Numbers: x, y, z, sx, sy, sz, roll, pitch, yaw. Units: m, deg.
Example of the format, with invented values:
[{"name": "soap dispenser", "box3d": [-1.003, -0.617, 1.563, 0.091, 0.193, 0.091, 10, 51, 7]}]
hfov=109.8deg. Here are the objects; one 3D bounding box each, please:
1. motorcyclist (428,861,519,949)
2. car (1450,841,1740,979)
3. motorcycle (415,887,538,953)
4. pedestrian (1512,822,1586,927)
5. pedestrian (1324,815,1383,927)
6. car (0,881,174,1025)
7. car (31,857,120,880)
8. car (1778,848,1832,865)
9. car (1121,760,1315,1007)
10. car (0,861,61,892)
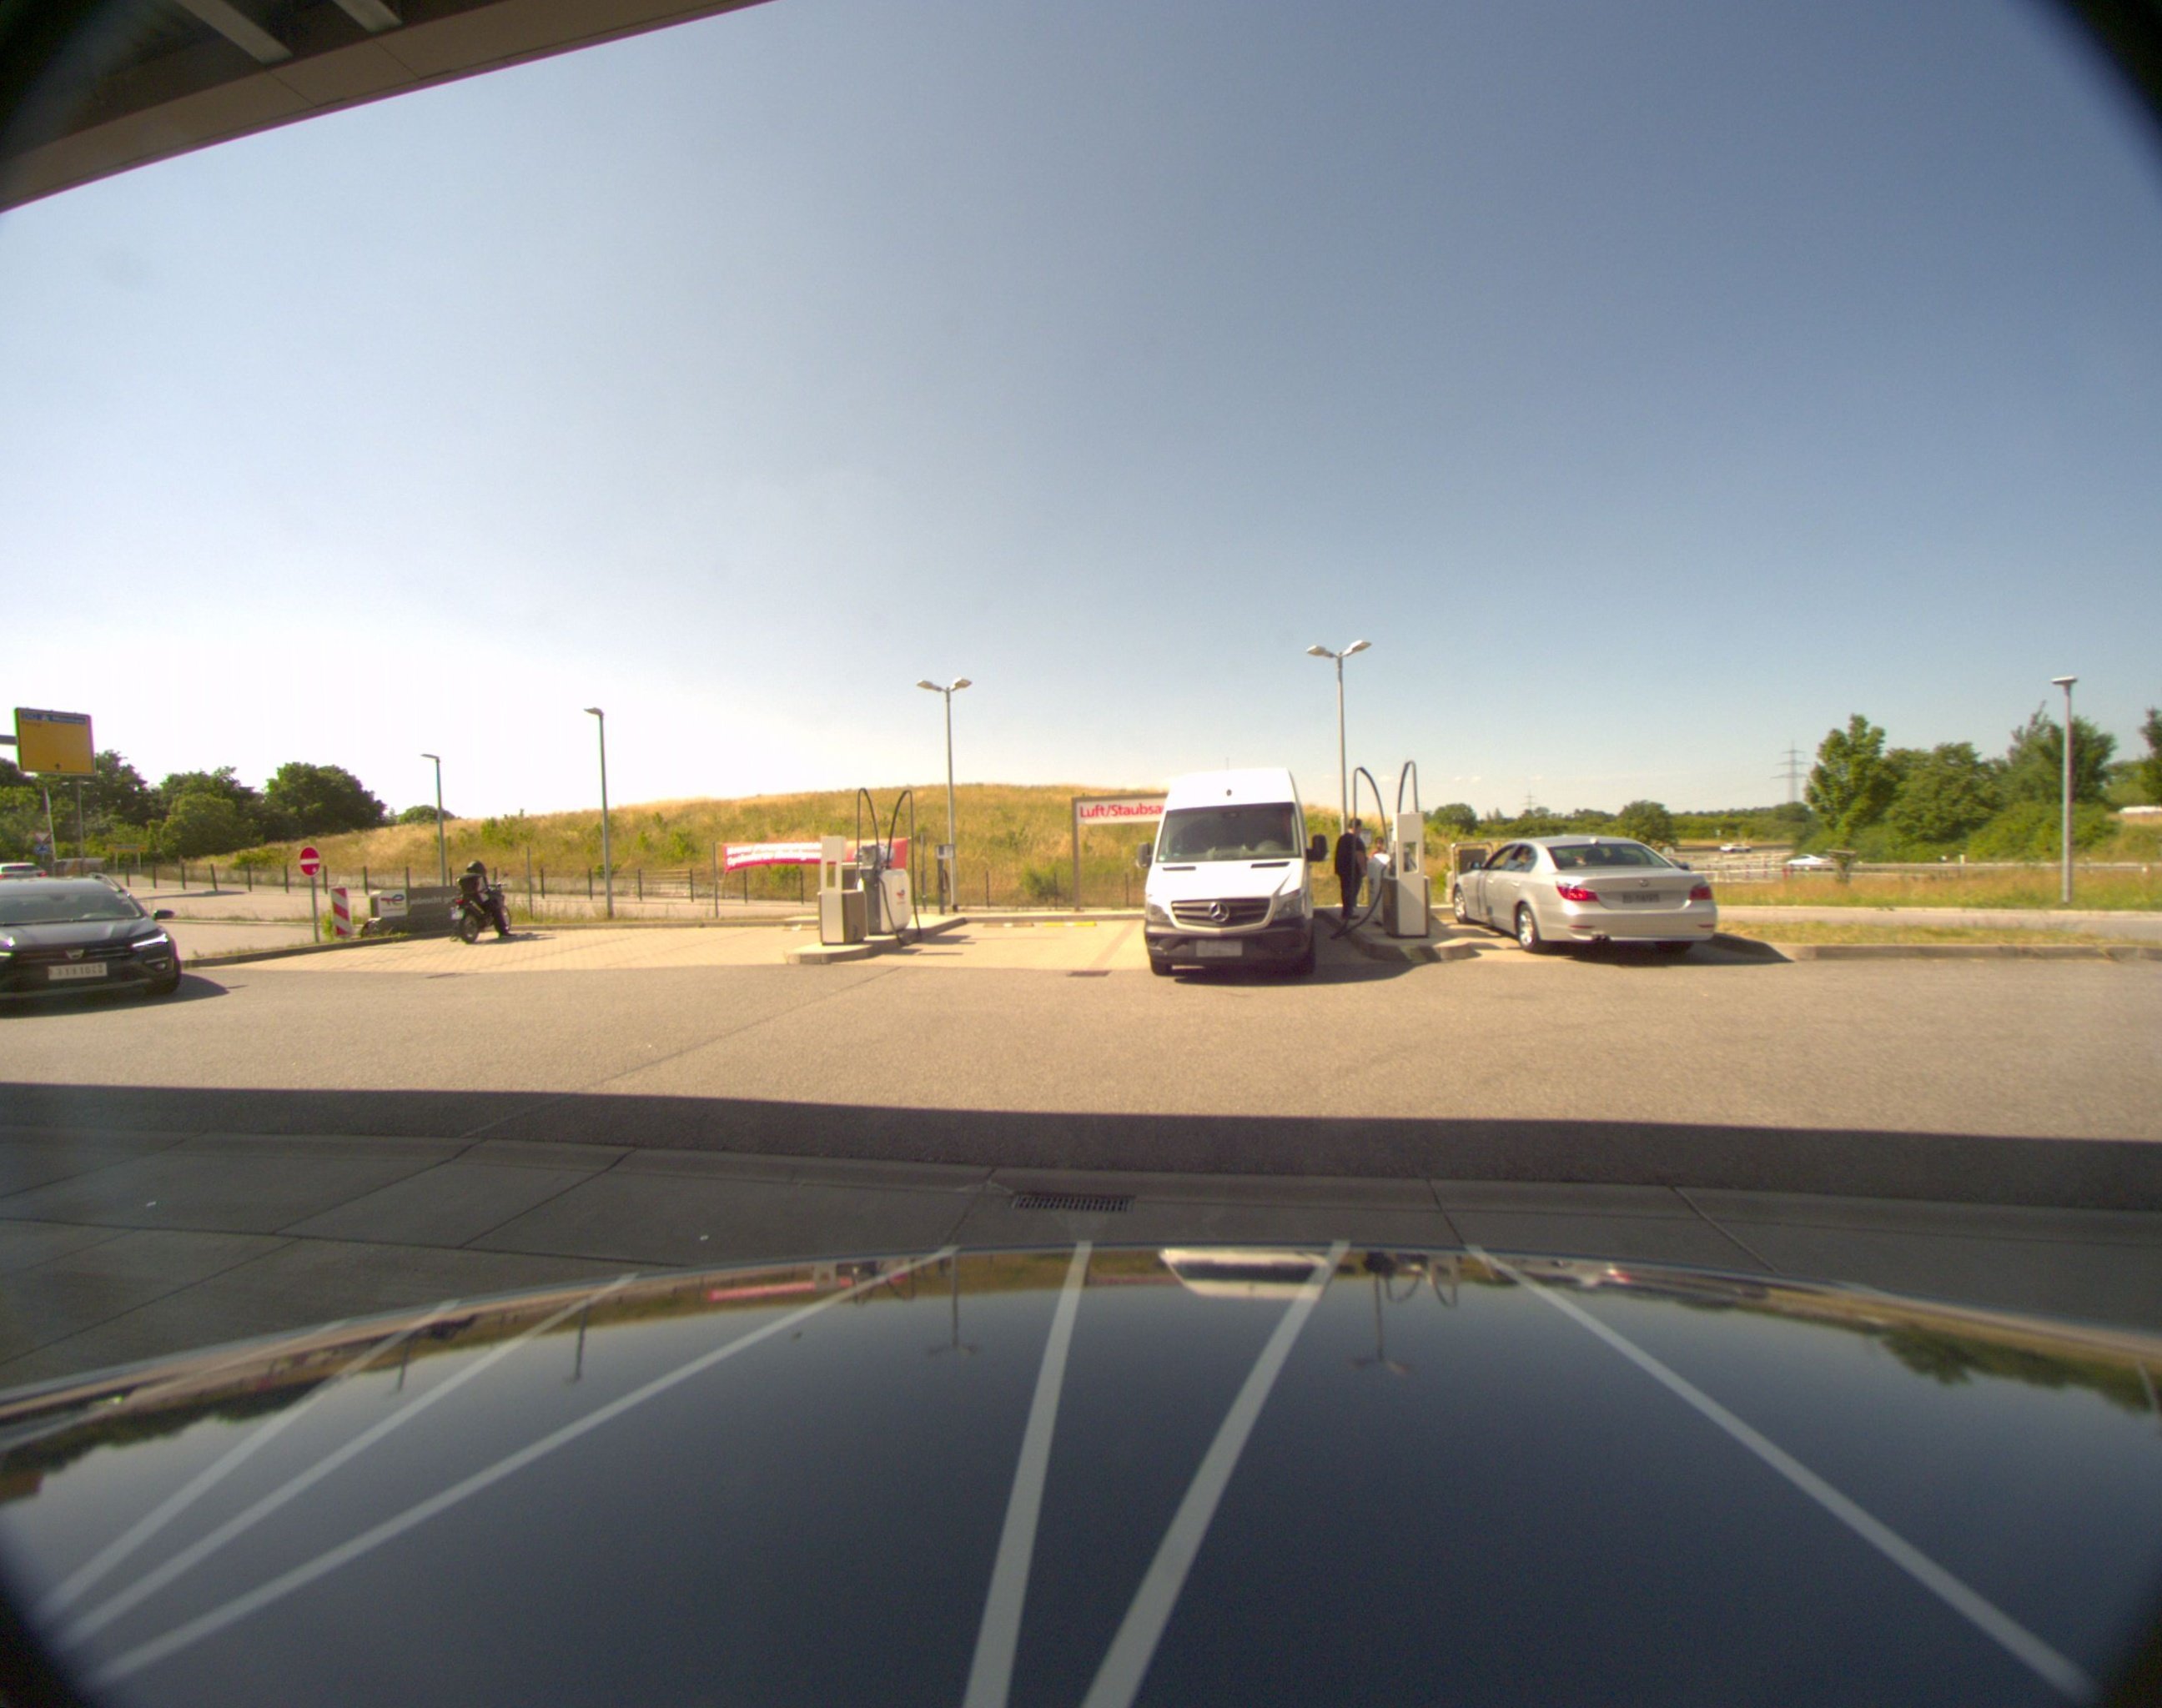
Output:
[{"name": "motorcyclist", "box3d": [-12.483, 1.014, 15.657, 1.035, 1.678, 1.097, -2, 1, -14]}, {"name": "car", "box3d": [6.686, 0.599, 10.521, 1.790, 1.420, 4.324, -2, 2, 12]}, {"name": "motorcycle", "box3d": [-12.525, 1.324, 15.872, 1.046, 1.100, 2.412, -2, 1, -14]}, {"name": "pedestrian", "box3d": [8.097, 0.339, 13.176, 0.709, 1.739, 0.844, -2, 1, -5]}, {"name": "pedestrian", "box3d": [4.497, 0.265, 12.516, 0.707, 1.759, 0.846, -1, 1, 33]}, {"name": "car", "box3d": [-14.385, 1.242, 10.724, 4.619, 1.635, 1.747, -1, 1, 37]}, {"name": "car", "box3d": [-91.848, 1.296, 69.482, 1.995, 2.002, 4.536, -1, 0, 27]}, {"name": "car", "box3d": [68.599, 0.230, 72.042, 1.894, 1.510, 4.003, -2, 0, 12]}, {"name": "car", "box3d": [2.462, 0.155, 11.473, 1.996, 2.557, 7.036, -1, 3, 17]}, {"name": "car", "box3d": [-54.202, 1.114, 38.582, 4.085, 1.415, 1.709, 0, 1, 20]}]
